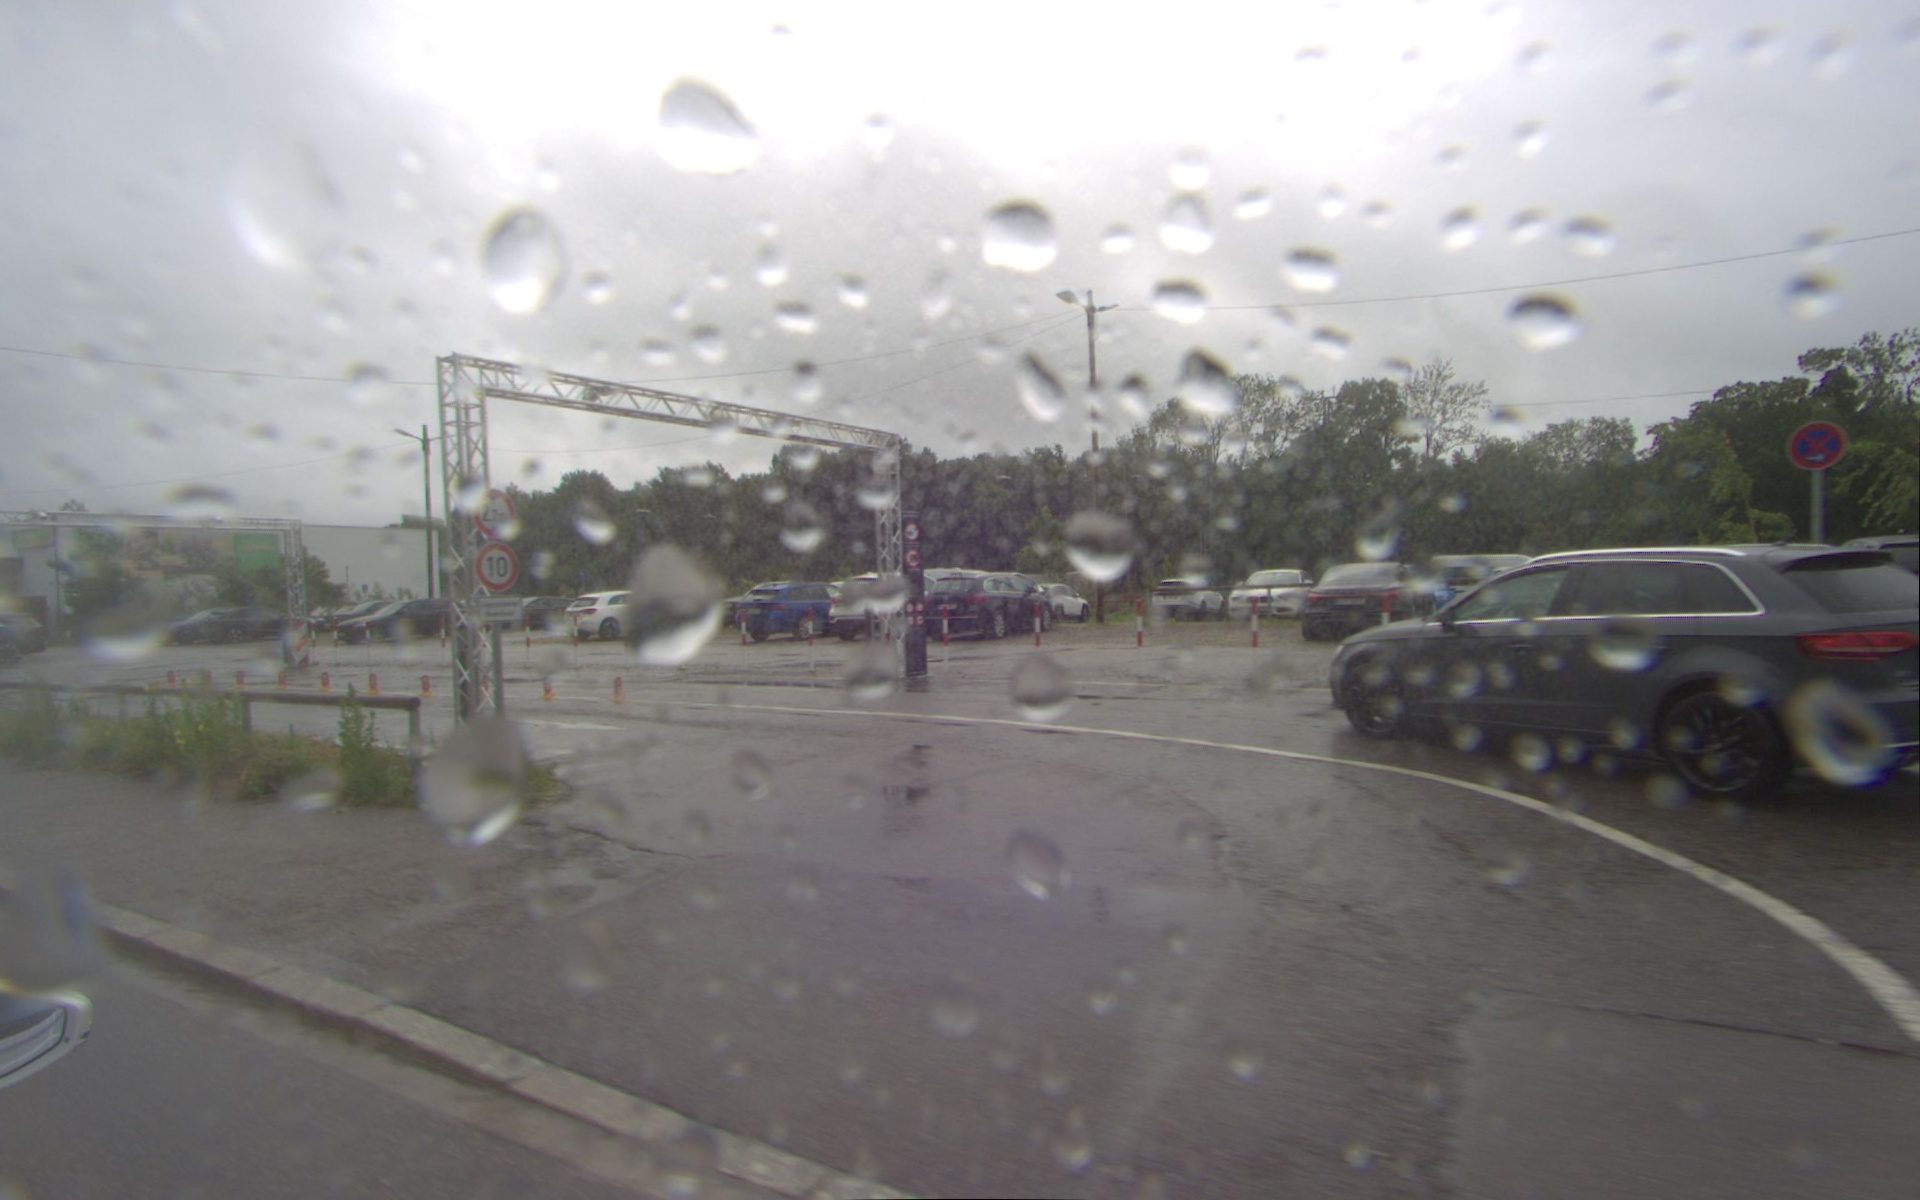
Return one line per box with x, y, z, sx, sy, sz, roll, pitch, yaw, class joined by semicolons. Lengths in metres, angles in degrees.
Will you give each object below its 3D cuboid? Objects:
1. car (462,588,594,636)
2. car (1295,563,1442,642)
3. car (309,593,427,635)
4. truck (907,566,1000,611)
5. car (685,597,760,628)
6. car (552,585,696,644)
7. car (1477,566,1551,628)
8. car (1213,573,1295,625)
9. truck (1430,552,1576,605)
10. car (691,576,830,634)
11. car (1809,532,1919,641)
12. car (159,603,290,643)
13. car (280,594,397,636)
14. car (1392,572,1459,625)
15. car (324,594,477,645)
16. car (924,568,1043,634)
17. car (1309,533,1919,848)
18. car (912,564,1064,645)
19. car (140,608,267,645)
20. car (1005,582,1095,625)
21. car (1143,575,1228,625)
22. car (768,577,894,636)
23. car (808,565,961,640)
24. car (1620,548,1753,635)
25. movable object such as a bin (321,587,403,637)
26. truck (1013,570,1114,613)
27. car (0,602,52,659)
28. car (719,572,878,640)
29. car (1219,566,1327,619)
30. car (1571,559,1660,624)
-17.866;0.465;41.664;2.015;1.627;4.690;-2;2;31;car
8.012;-0.015;19.366;1.950;1.237;4.577;-2;1;31;car
-28.609;0.651;48.520;2.013;1.695;4.432;-3;2;29;car
-0.379;-0.669;57.673;5.011;2.434;2.067;-1;2;32;truck
-12.195;0.630;51.644;1.760;1.419;3.987;-1;1;23;car
-10.459;0.436;31.376;1.902;1.504;3.816;-2;2;35;car
17.949;-0.142;32.523;1.970;1.855;3.981;-1;1;29;car
10.937;-0.072;37.000;1.991;1.744;4.311;-1;1;29;car
22.605;-0.878;41.764;5.206;2.041;2.075;-1;2;34;truck
-6.746;0.119;34.378;1.900;1.627;4.688;-2;2;33;car
14.782;-0.285;15.648;1.845;1.510;3.939;-2;2;34;car
-30.939;0.953;42.219;1.972;1.505;3.977;-2;-1;33;car
-30.826;0.733;49.826;2.013;1.695;4.432;-3;2;29;car
16.003;-0.087;34.310;1.785;1.667;4.181;-1;1;29;car
-20.568;0.682;37.052;1.987;1.738;4.617;-2;-1;26;car
0.790;-0.021;30.121;1.805;1.682;4.051;-2;2;30;car
4.657;0.344;7.004;1.869;1.477;4.212;-4;3;-22;car
0.752;0.062;23.663;1.763;1.605;3.761;-2;3;35;car
-32.891;1.138;43.621;1.972;1.427;3.977;-2;-1;33;car
3.775;0.110;41.315;1.992;1.610;4.308;-1;1;31;car
8.650;-0.026;38.134;1.991;1.744;4.311;-1;1;29;car
-4.177;0.169;33.034;1.900;1.627;4.048;-2;2;33;car
-1.843;0.017;25.577;1.763;1.605;3.889;-2;3;35;car
12.275;-0.189;16.936;1.627;1.237;3.872;-2;2;37;car
-37.704;0.693;63.205;1.971;3.033;3.979;0;1;31;movable object such as a bin
5.525;-0.455;53.754;5.019;2.167;2.064;-1;2;37;truck
-31.896;1.074;31.420;2.101;1.758;4.663;-2;1;36;car
-4.242;0.123;26.878;1.902;1.504;4.030;-2;2;35;car
8.168;-0.226;25.902;1.805;1.086;4.051;-3;2;30;car
20.214;-0.280;31.024;1.970;1.855;3.981;-1;1;29;car
